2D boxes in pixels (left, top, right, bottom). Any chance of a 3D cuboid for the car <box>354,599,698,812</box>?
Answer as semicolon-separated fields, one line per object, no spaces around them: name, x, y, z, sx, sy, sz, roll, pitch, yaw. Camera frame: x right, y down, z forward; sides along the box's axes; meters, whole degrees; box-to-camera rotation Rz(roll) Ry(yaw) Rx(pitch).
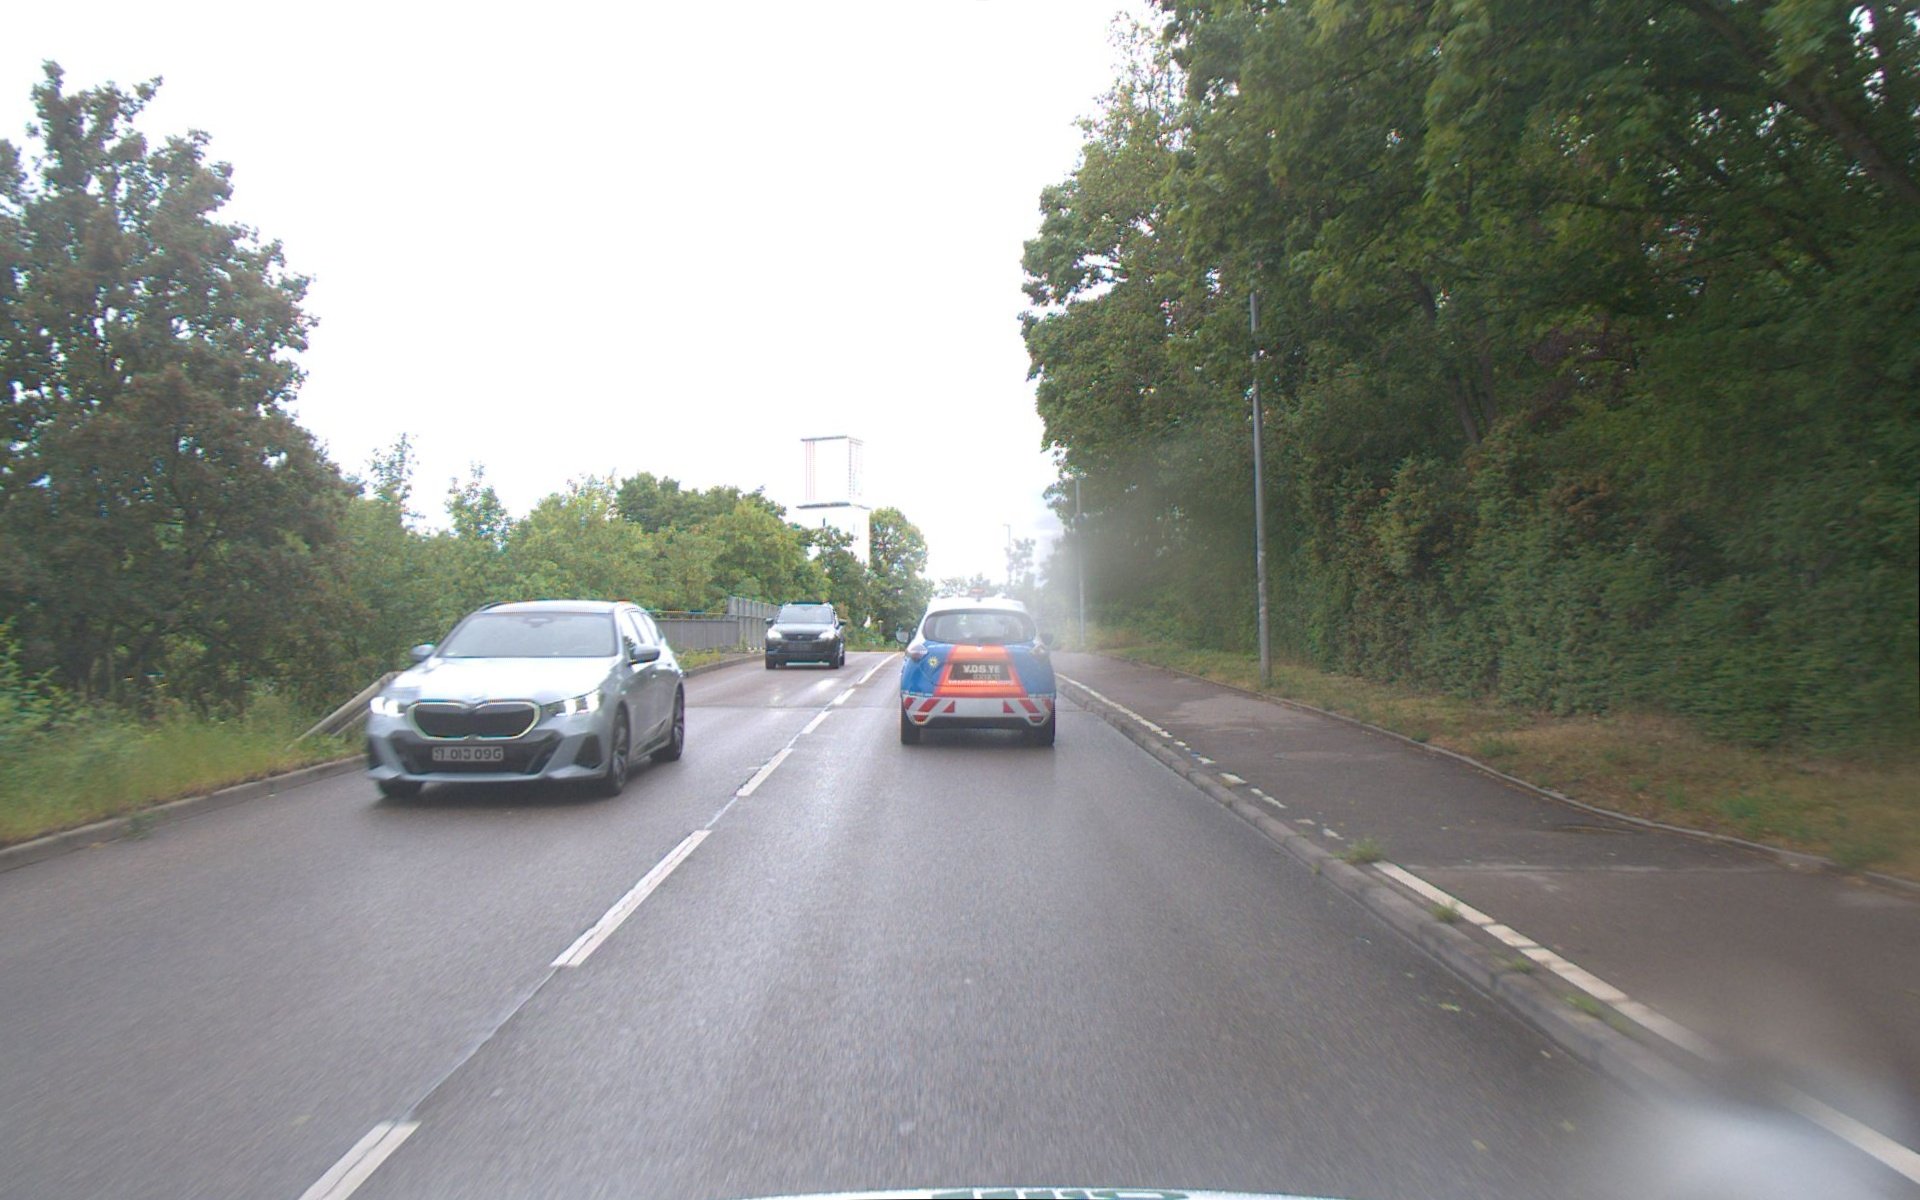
car;-3.530;0.767;14.387;1.824;1.530;4.727;0;0;-1

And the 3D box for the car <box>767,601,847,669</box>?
car;-3.779;0.840;41.463;1.695;1.613;4.079;0;0;-1

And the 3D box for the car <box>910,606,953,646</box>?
car;-1.233;1.116;71.994;1.766;1.618;3.562;-2;0;-1

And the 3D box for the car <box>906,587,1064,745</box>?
car;0.236;0.713;18.871;1.624;1.621;3.567;0;-1;-1
